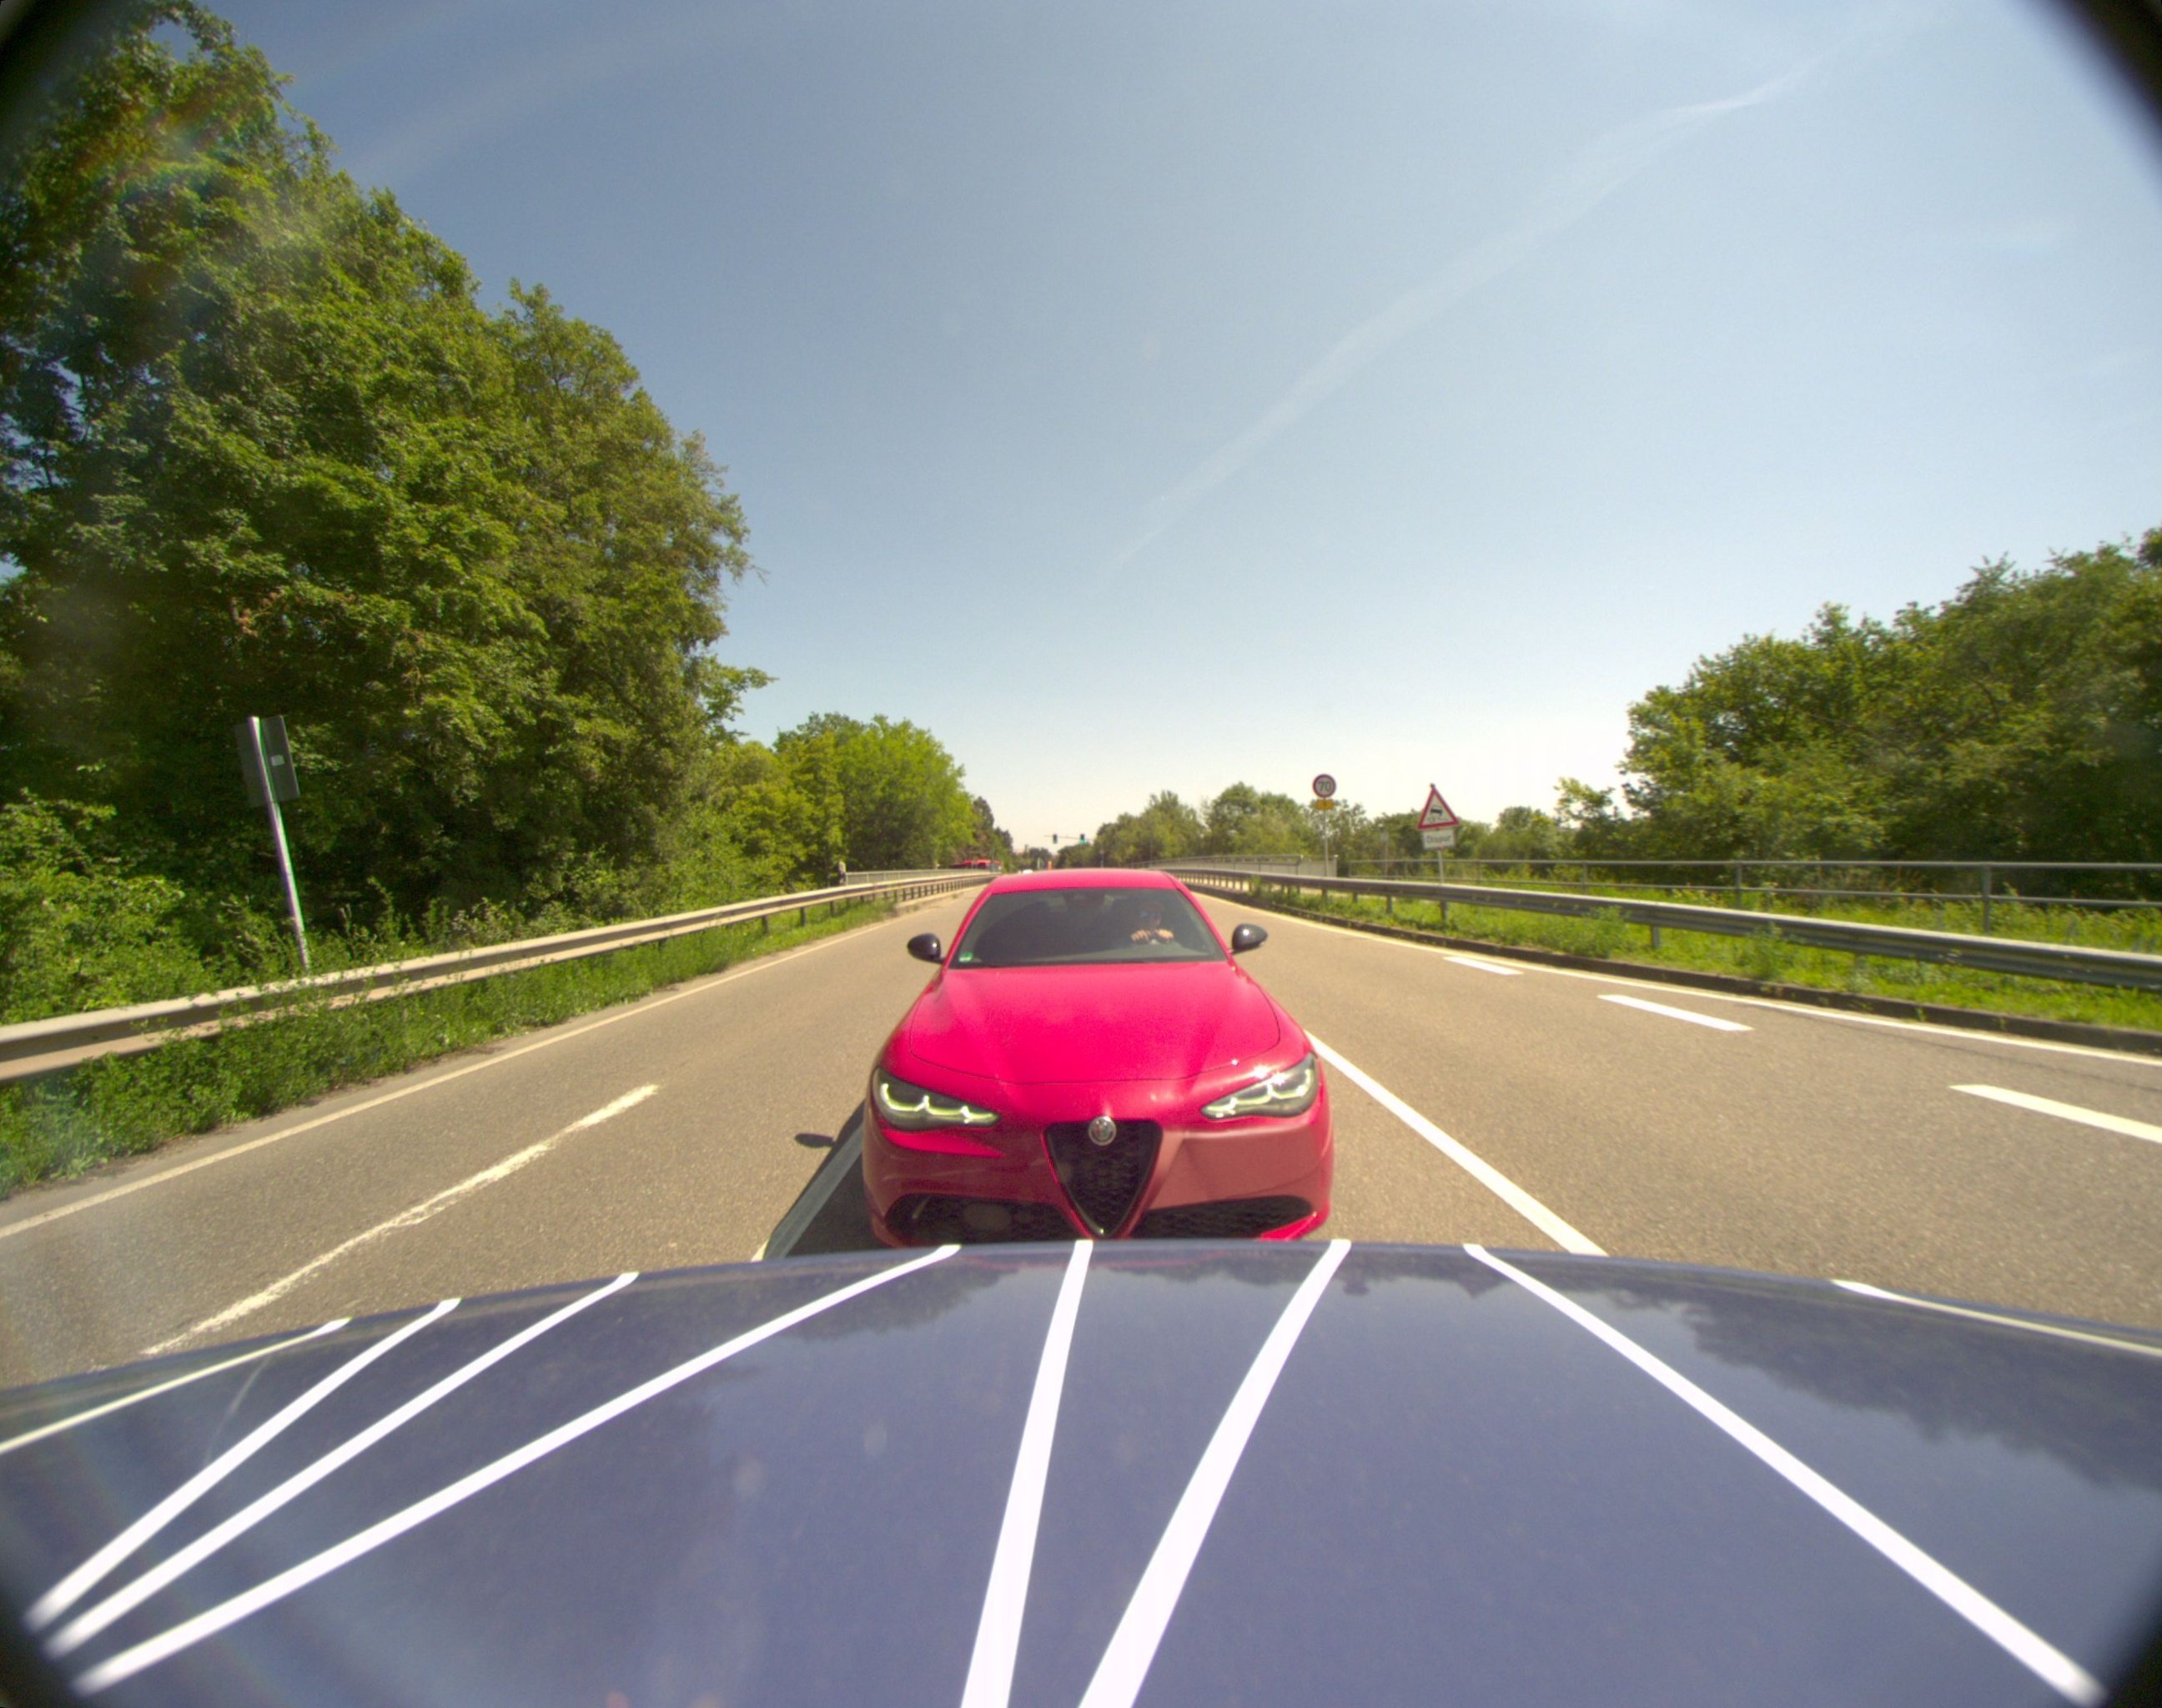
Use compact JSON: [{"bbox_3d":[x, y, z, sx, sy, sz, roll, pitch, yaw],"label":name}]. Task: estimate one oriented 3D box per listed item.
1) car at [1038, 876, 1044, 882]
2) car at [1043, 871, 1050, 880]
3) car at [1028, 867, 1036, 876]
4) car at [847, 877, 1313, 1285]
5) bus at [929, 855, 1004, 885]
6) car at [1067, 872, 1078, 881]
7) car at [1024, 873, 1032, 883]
[{"bbox_3d":[-13.617,8.475,257.006,1.848,1.758,3.999,-1,0,-1],"label":"car"},{"bbox_3d":[-10.024,6.229,221.798,1.996,2.354,5.180,-2,0,-3],"label":"car"},{"bbox_3d":[-9.026,3.211,140.227,1.476,1.565,3.487,-1,0,-4],"label":"car"},{"bbox_3d":[-0.042,0.950,5.123,1.801,1.448,4.284,-1,0,-1],"label":"car"},{"bbox_3d":[-15.151,2.051,99.345,12.394,3.641,2.874,-1,1,45],"label":"bus"},{"bbox_3d":[-1.476,3.900,131.533,1.649,1.410,3.764,-2,0,-4],"label":"car"},{"bbox_3d":[-9.300,4.190,133.036,1.416,1.499,3.315,-1,0,-3],"label":"car"}]
